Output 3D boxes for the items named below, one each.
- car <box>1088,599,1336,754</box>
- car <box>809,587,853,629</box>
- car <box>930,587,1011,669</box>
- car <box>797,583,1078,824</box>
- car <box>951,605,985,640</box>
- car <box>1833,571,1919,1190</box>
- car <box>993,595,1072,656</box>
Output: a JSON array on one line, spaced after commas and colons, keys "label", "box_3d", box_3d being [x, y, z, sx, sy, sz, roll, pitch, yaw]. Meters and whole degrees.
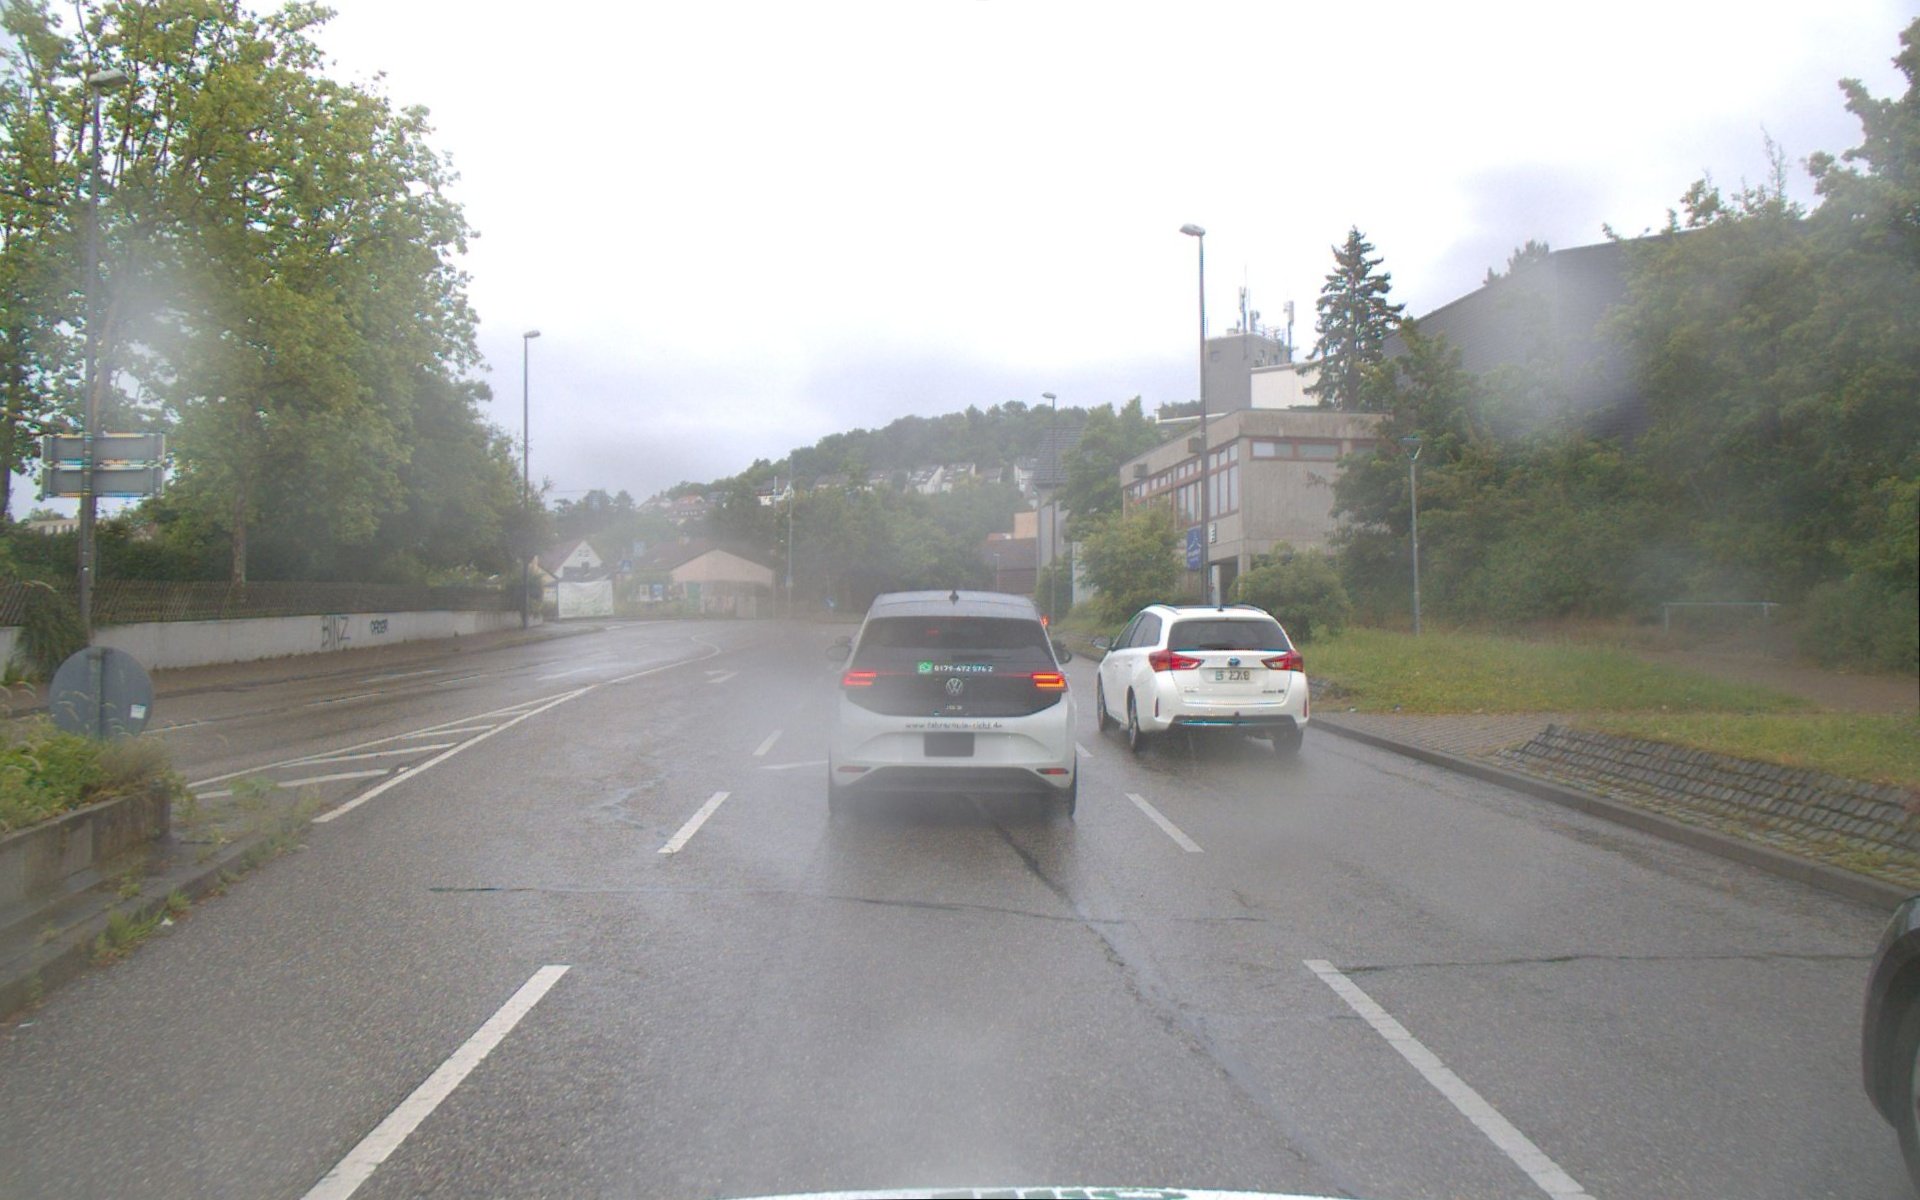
[{"label": "car", "box_3d": [2.528, 0.756, 17.639, 1.811, 1.434, 4.299, 1, -1, -3]}, {"label": "car", "box_3d": [-6.631, 0.438, 85.290, 1.953, 2.049, 3.999, 1, -1, -1]}, {"label": "car", "box_3d": [0.162, 0.524, 33.338, 1.535, 1.557, 3.999, 0, 0, -1]}, {"label": "car", "box_3d": [-0.091, 0.698, 12.707, 1.791, 1.526, 4.169, 1, -1, 1]}, {"label": "car", "box_3d": [0.500, 1.382, 101.237, 1.952, 2.049, 4.000, 1, -1, 1]}, {"label": "car", "box_3d": [3.375, 0.705, 2.218, 1.914, 1.534, 4.607, 2, -1, -1]}, {"label": "car", "box_3d": [1.883, 0.672, 43.952, 1.952, 1.478, 3.771, -2, -1, 1]}]
